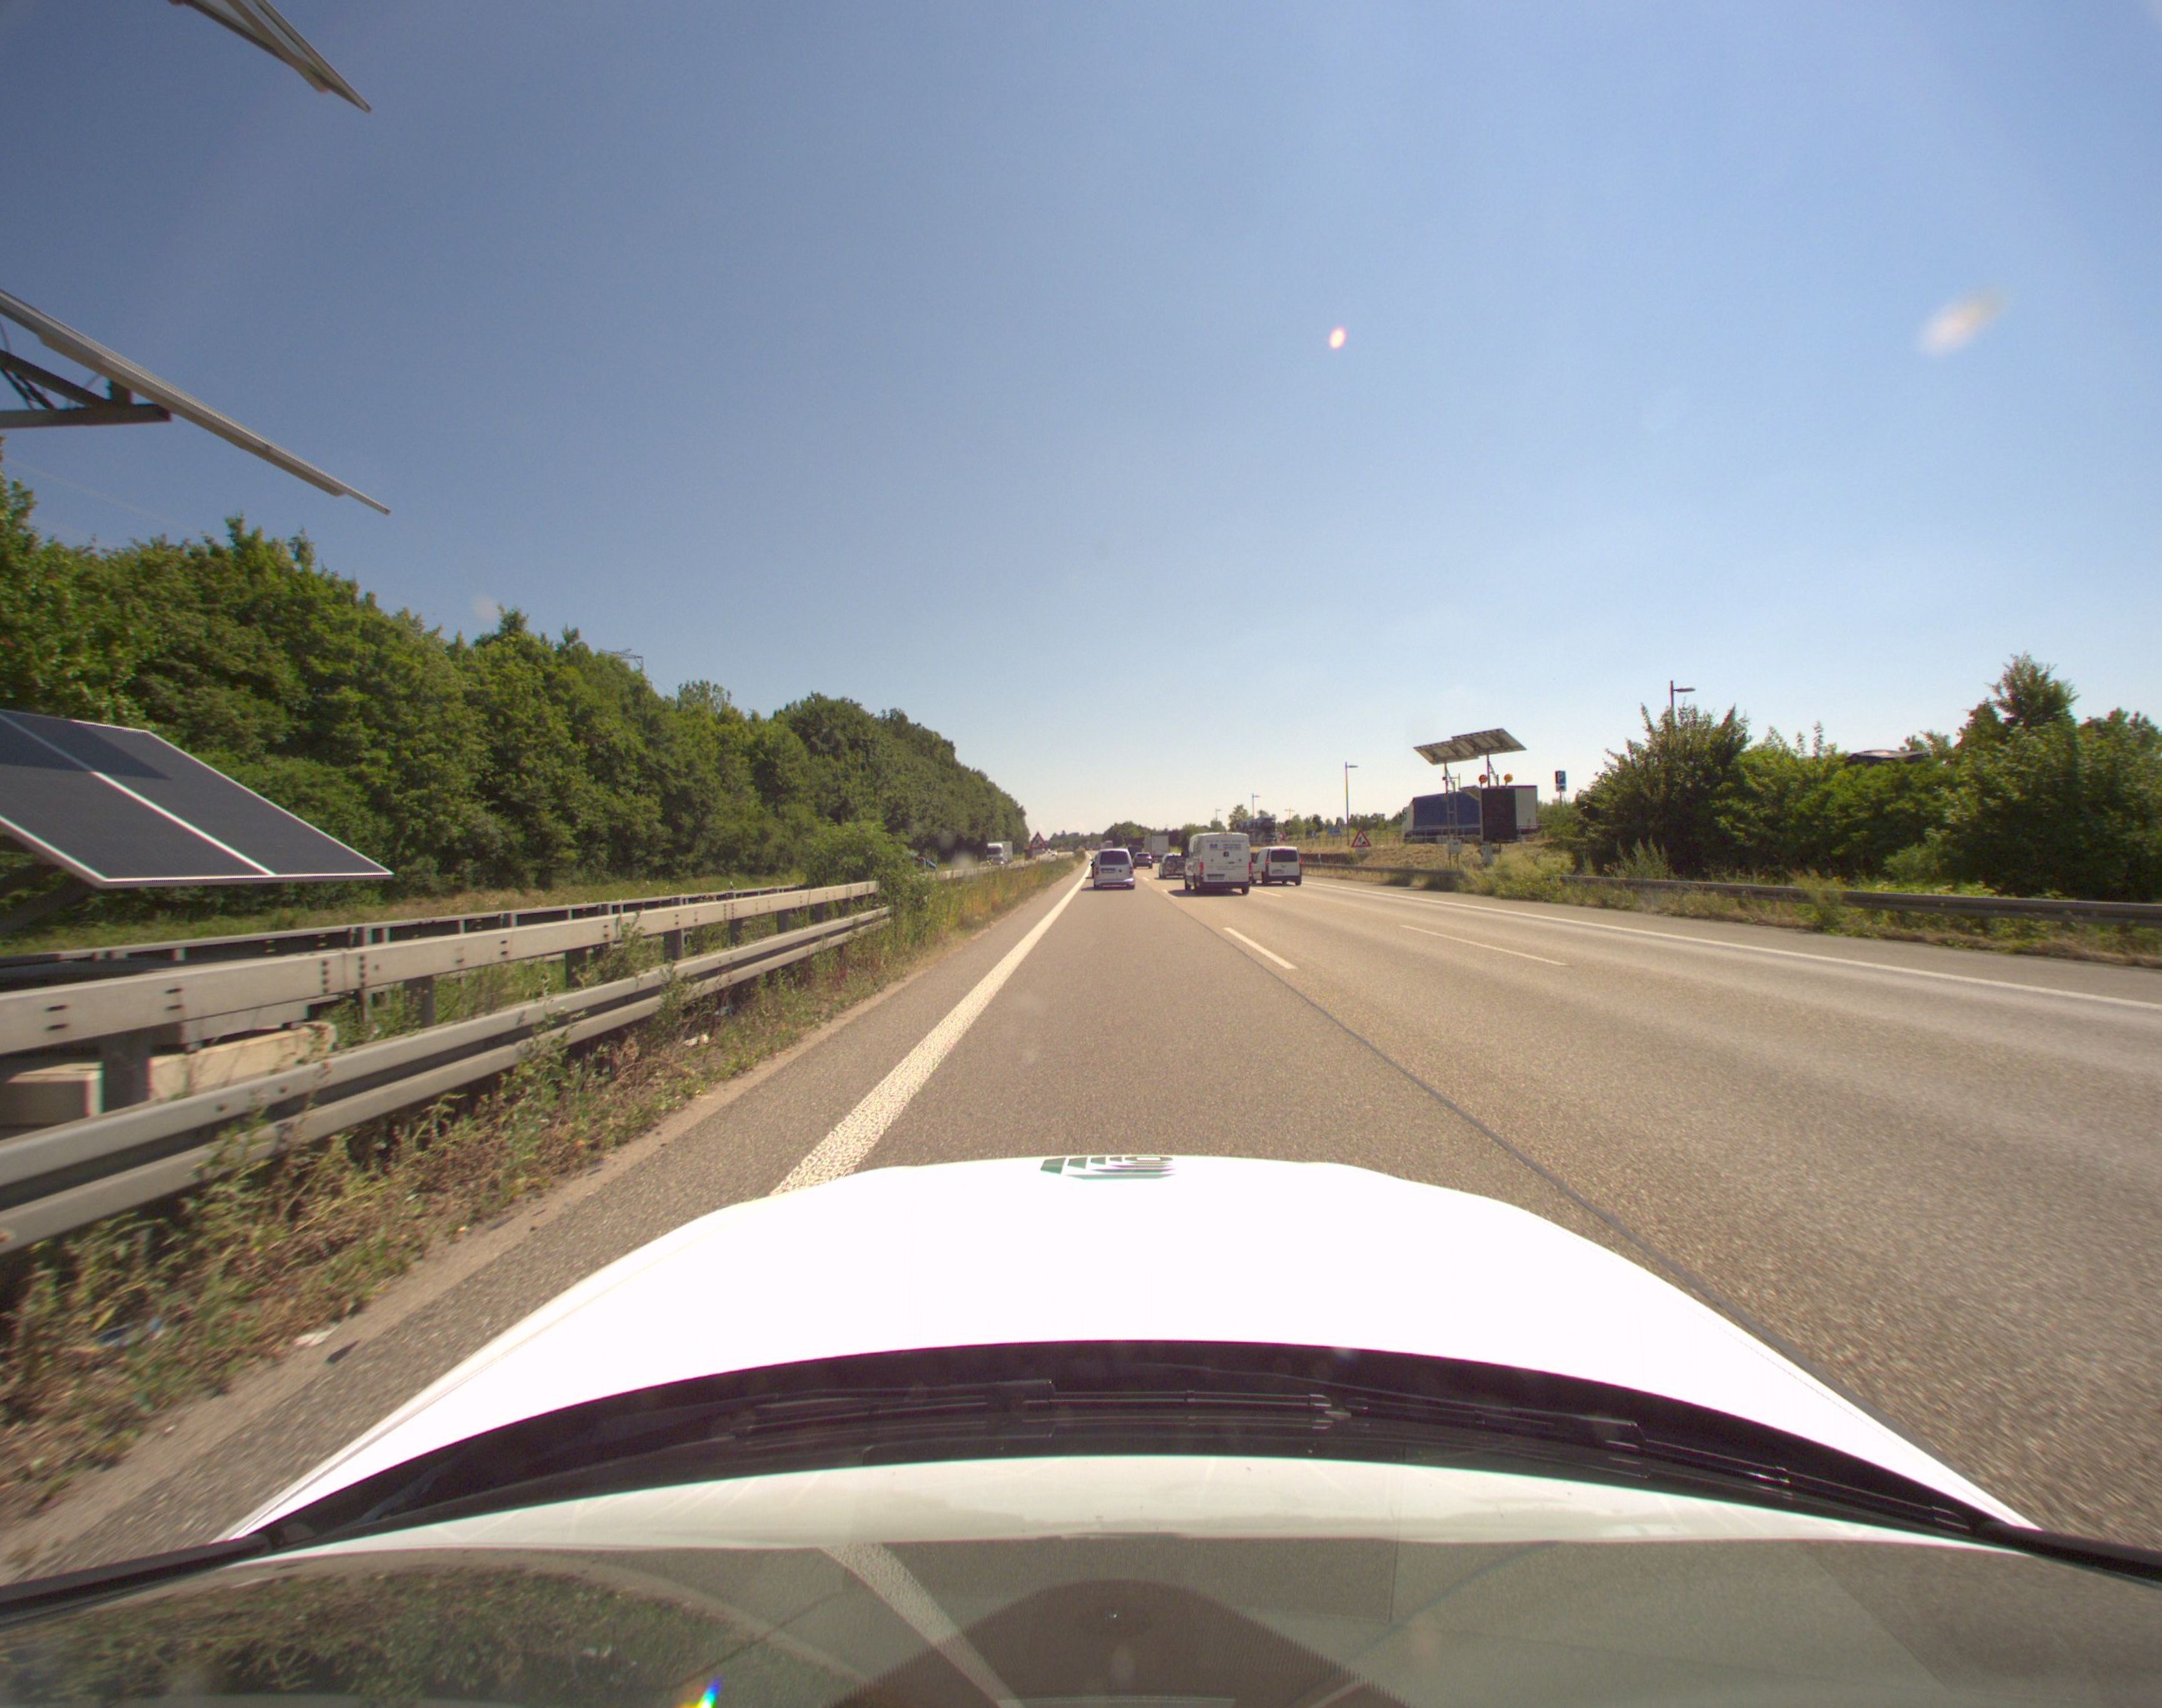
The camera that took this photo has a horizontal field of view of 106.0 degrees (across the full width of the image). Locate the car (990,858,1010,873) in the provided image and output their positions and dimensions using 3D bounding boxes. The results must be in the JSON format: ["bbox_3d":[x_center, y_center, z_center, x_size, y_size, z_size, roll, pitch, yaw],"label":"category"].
[{"bbox_3d":[-9.803,1.323,98.949,1.718,1.656,4.861,-4,0,1],"label":"car"}]

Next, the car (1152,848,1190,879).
[{"bbox_3d":[5.357,0.562,48.817,1.968,1.733,4.091,-2,0,3],"label":"car"}]

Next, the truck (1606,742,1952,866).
[{"bbox_3d":[27.052,-1.601,33.141,3.773,4.083,12.526,0,0,3],"label":"truck"}]

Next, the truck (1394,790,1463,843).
[{"bbox_3d":[28.530,-2.977,67.228,3.041,4.083,6.399,0,0,1],"label":"truck"}]

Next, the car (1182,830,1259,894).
[{"bbox_3d":[5.316,0.292,31.796,2.174,2.254,5.363,-1,0,1],"label":"car"}]

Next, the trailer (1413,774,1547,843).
[{"bbox_3d":[28.351,-3.026,59.102,3.041,4.083,14.261,0,0,1],"label":"trailer"}]

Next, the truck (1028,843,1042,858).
[{"bbox_3d":[-11.822,-0.903,209.490,2.773,3.738,11.158,0,0,1],"label":"truck"}]

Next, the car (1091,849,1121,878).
[{"bbox_3d":[1.639,0.599,51.713,1.737,1.701,4.092,-2,0,3],"label":"car"}]

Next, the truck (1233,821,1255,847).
[{"bbox_3d":[24.617,-2.977,123.261,2.593,3.827,4.001,0,-1,1],"label":"truck"}]

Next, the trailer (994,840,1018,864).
[{"bbox_3d":[-13.505,-0.339,146.967,3.442,4.279,7.969,0,0,0],"label":"trailer"}]

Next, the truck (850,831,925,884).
[{"bbox_3d":[-15.255,0.291,65.186,2.985,3.802,10.793,-2,0,2],"label":"truck"}]

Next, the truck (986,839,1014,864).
[{"bbox_3d":[-13.533,-0.376,137.474,3.442,3.994,11.122,-2,0,0],"label":"truck"}]

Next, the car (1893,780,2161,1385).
[{"bbox_3d":[3.861,0.606,0.133,1.944,1.636,5.601,0,0,1],"label":"car"}]

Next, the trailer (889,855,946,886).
[{"bbox_3d":[-14.884,1.466,74.769,3.133,2.639,8.536,0,0,3],"label":"trailer"}]

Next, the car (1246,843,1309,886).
[{"bbox_3d":[9.206,0.465,38.493,1.944,1.838,4.178,-2,0,1],"label":"car"}]

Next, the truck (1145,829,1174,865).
[{"bbox_3d":[11.460,-0.952,120.257,3.773,5.000,12.527,0,0,3],"label":"truck"}]

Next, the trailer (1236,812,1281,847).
[{"bbox_3d":[24.375,-3.188,112.909,2.596,4.258,18.425,0,0,1],"label":"trailer"}]

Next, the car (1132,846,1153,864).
[{"bbox_3d":[5.974,0.126,79.062,1.894,1.672,4.091,-2,0,3],"label":"car"}]

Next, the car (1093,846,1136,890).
[{"bbox_3d":[1.524,0.599,36.295,1.738,1.764,4.091,-2,0,3],"label":"car"}]

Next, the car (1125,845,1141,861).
[{"bbox_3d":[6.137,-0.101,96.474,1.668,1.891,4.091,-2,0,3],"label":"car"}]
